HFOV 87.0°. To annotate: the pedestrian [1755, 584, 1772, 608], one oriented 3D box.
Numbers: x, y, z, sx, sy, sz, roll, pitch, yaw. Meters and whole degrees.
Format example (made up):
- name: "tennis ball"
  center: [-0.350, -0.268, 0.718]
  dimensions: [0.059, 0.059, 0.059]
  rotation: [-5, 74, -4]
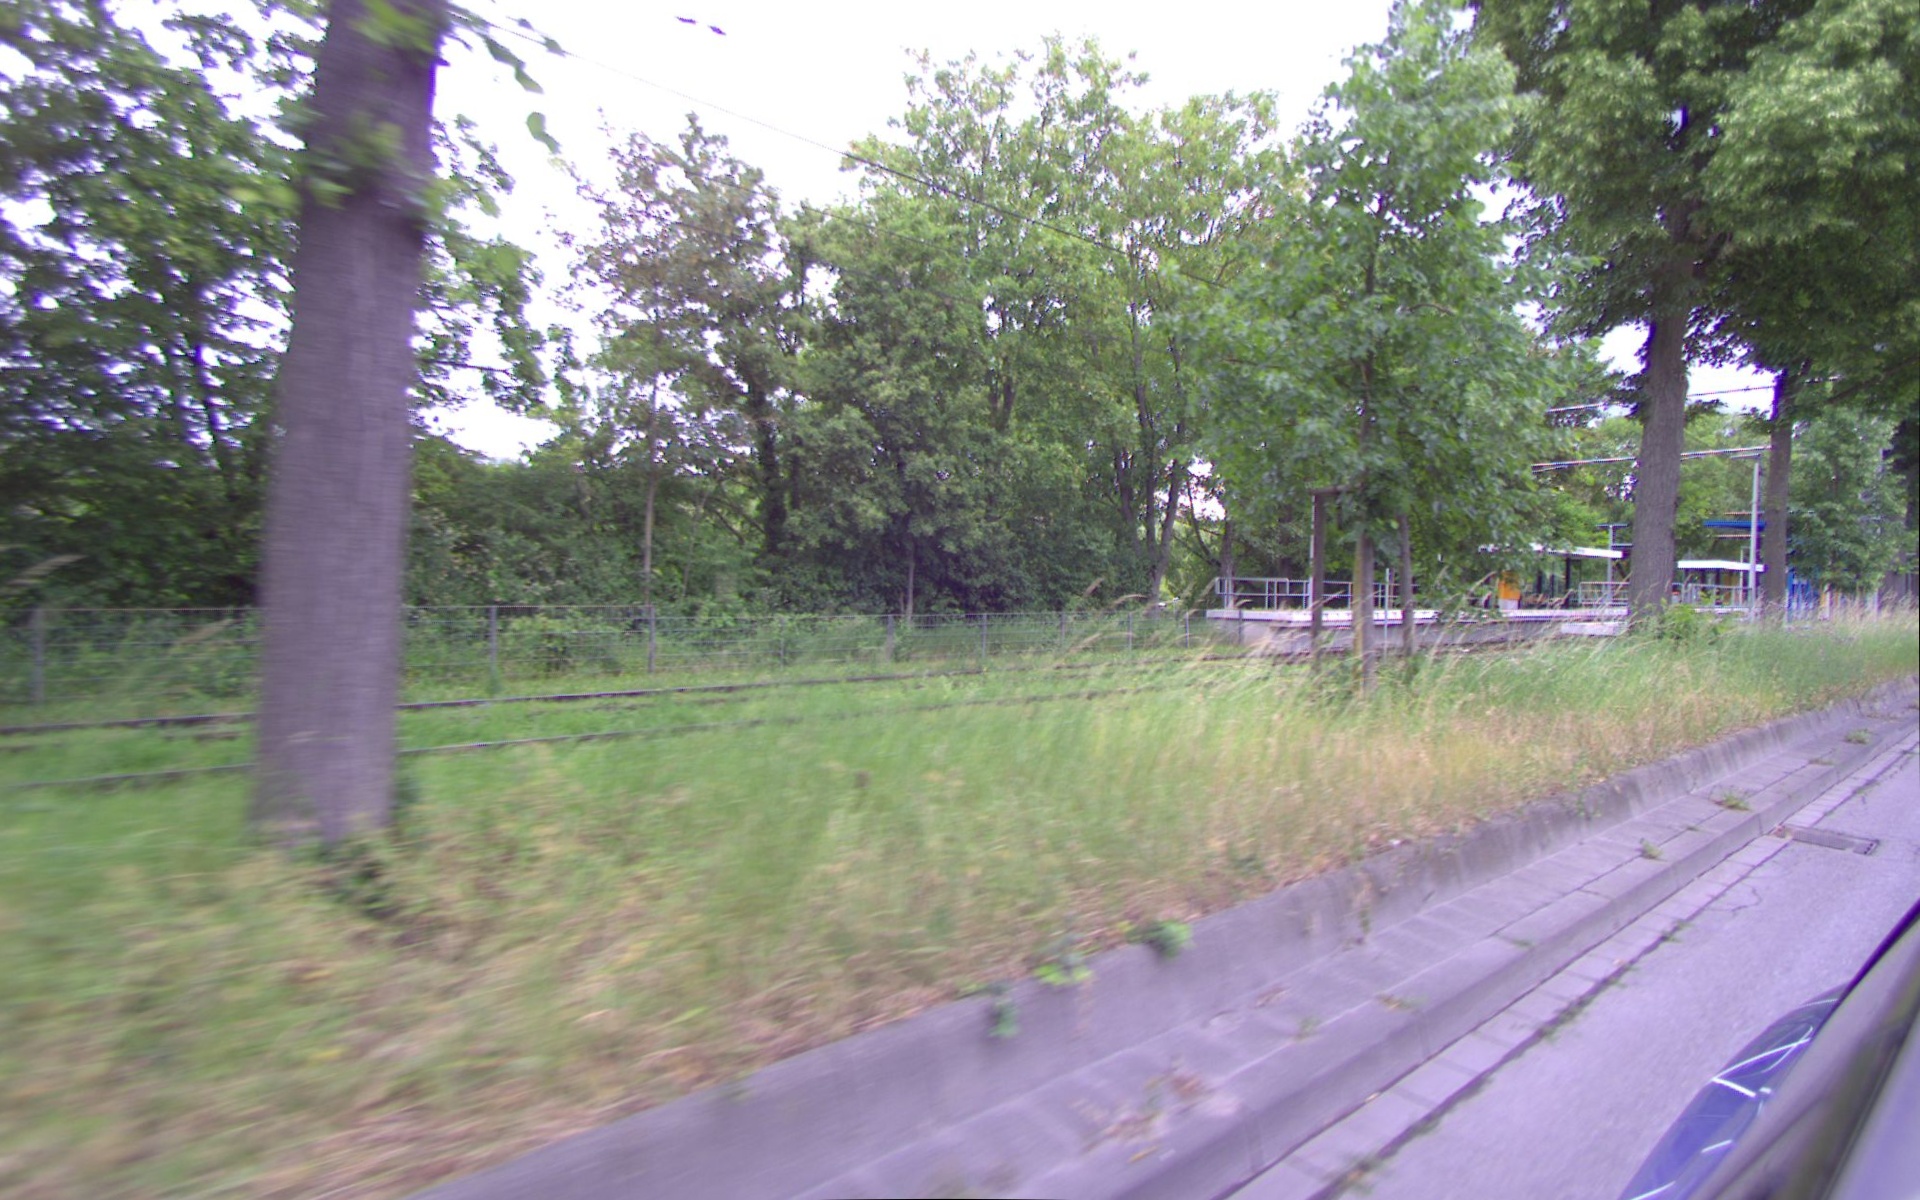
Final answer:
- name: "pedestrian"
  center: [51.554, -0.232, 64.948]
  dimensions: [0.711, 1.530, 0.720]
  rotation: [-1, 0, -38]
